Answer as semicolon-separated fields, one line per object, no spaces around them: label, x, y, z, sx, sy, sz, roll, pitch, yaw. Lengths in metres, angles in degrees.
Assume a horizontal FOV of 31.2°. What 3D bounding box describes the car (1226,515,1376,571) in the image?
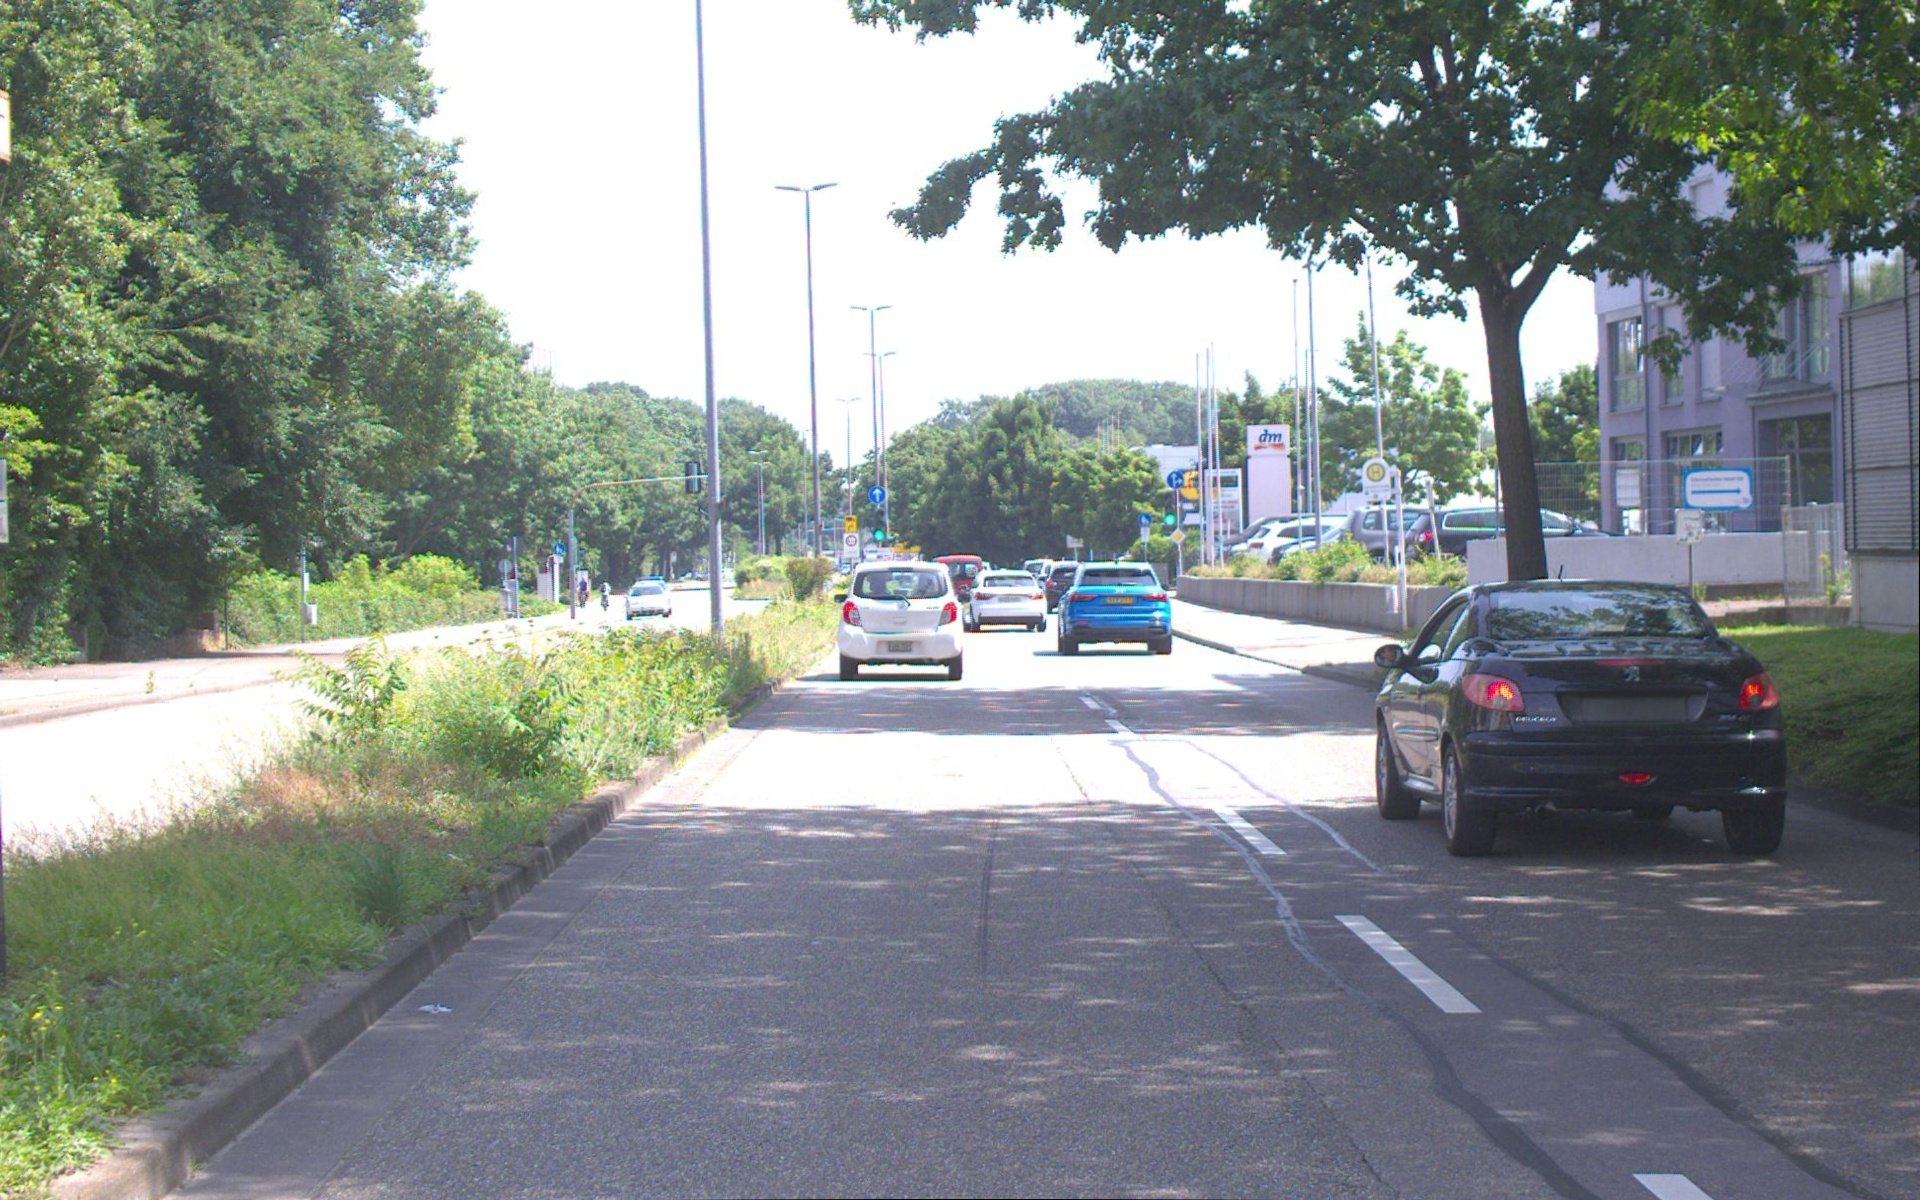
car;10.522;-1.751;106.285;4.346;1.539;2.000;-2;0;-2

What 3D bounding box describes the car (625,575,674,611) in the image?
car;-12.814;-0.288;141.912;1.736;1.408;4.372;-2;0;-2

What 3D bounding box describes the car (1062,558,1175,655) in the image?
car;2.707;0.131;58.955;1.828;1.575;3.605;-1;-1;2

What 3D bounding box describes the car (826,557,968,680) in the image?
car;-0.797;0.211;45.439;1.748;1.515;3.746;0;1;1

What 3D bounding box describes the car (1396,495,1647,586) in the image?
car;10.959;-1.166;67.331;4.499;1.577;2.000;-2;0;-1

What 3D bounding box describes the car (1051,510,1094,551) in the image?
car;5.799;-3.587;177.565;1.769;2.007;3.991;-2;1;-4

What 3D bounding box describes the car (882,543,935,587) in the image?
car;-2.089;-1.430;138.478;1.819;1.656;4.001;-2;2;-5

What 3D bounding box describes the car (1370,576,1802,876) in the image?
car;3.188;0.588;18.137;1.627;1.359;3.605;0;1;0

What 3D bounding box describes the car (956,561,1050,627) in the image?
car;0.966;-0.151;79.288;1.993;1.437;4.000;-2;1;-1

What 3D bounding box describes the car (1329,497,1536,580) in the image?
car;10.427;-1.357;76.065;4.226;1.641;2.000;-2;0;-1

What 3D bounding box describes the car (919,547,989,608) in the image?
car;-0.200;-0.661;101.685;1.776;1.734;4.001;-2;0;-4

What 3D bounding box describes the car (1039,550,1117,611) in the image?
car;3.366;-0.573;98.537;1.993;1.634;4.000;-2;1;-1

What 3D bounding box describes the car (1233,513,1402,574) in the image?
car;10.168;-1.607;98.016;4.535;1.539;2.000;-2;0;0
